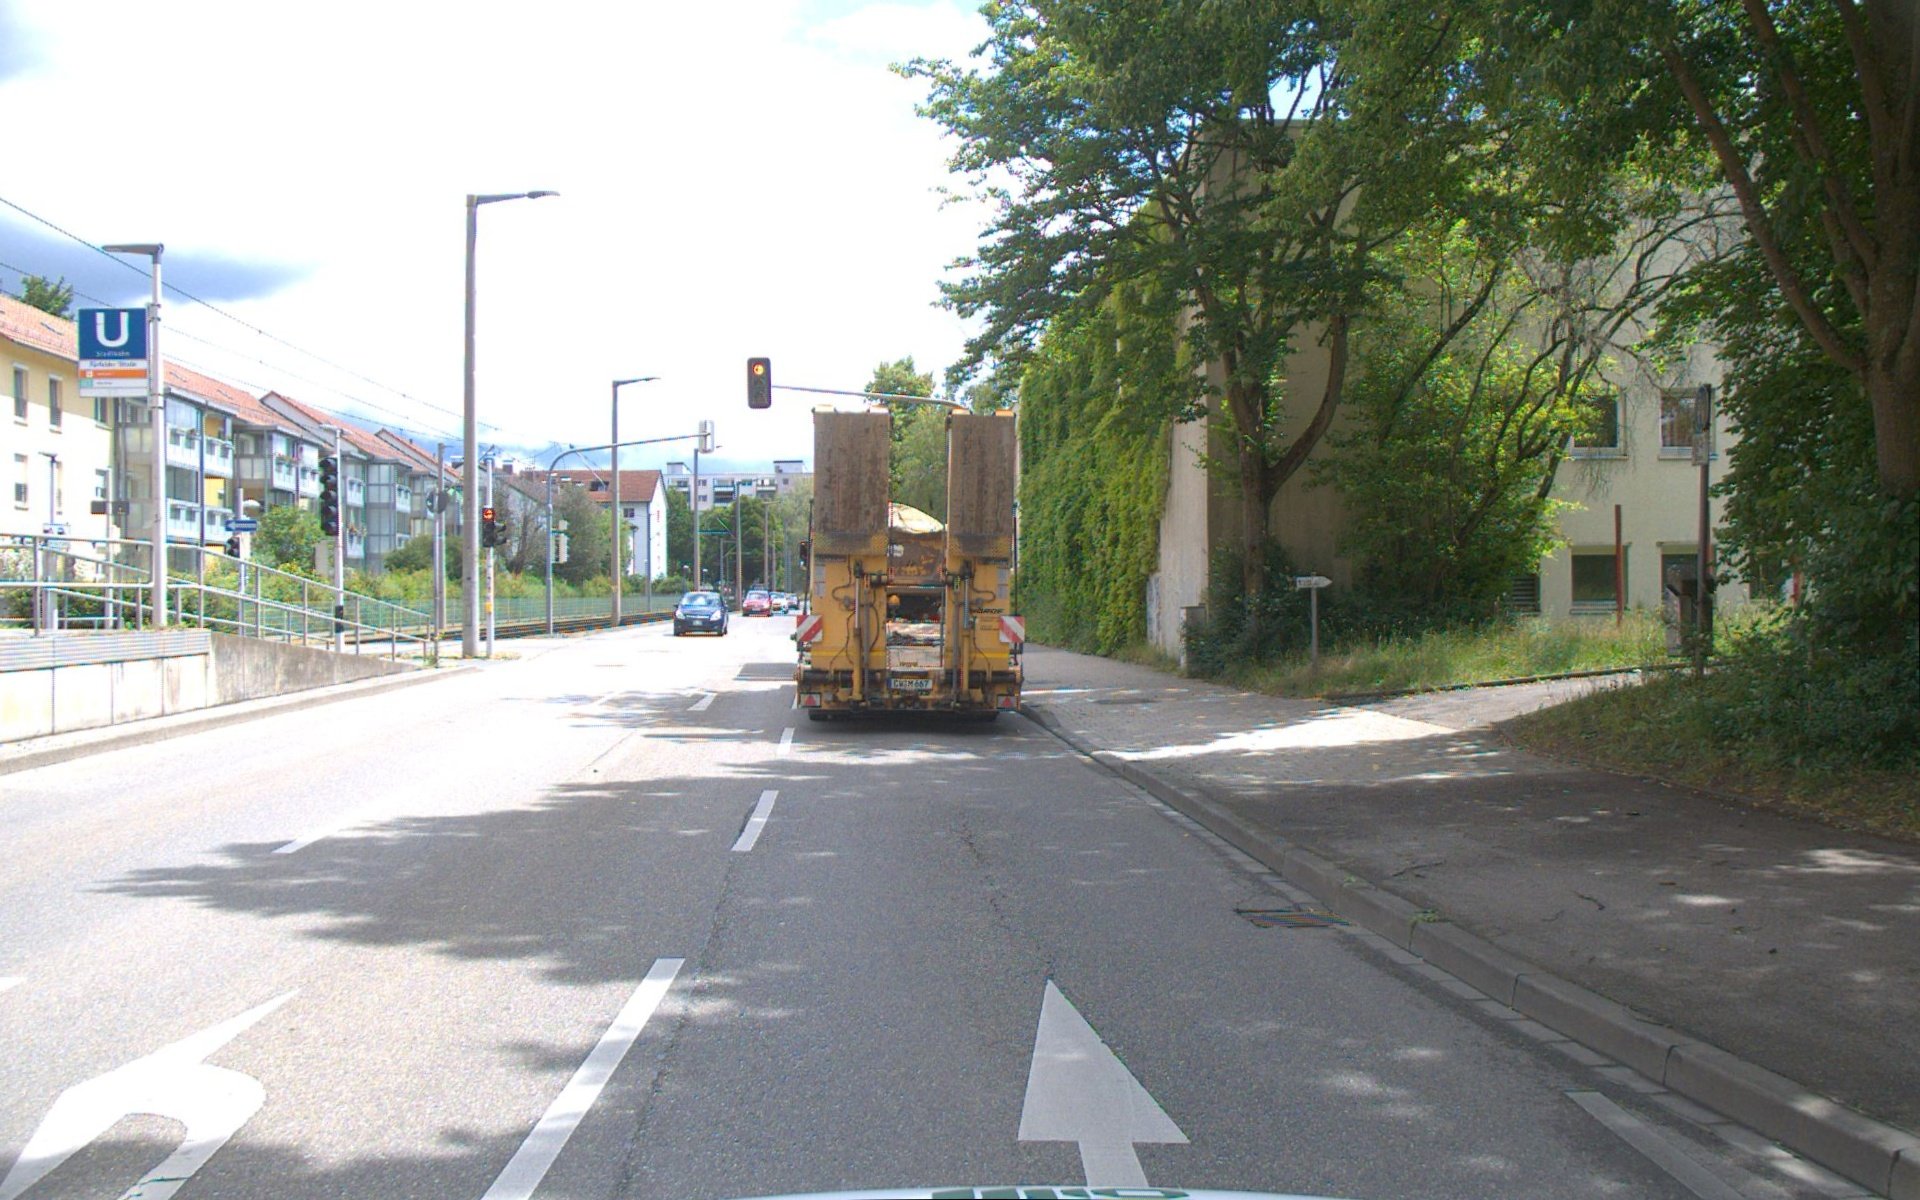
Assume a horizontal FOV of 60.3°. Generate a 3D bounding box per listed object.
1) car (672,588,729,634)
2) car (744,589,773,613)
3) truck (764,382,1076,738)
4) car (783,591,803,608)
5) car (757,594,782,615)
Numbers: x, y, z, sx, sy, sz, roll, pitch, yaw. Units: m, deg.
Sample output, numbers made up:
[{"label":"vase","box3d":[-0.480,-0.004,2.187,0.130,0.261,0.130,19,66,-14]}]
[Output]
[{"label":"car","box3d":[-8.824,0.375,56.496,1.634,1.478,3.675,1,-1,-5]},{"label":"car","box3d":[-12.543,0.081,103.101,1.634,1.478,3.675,1,-1,-5]},{"label":"truck","box3d":[-1.221,-0.481,24.664,3.337,3.797,13.717,0,0,-7]},{"label":"car","box3d":[-15.008,-0.032,148.782,1.634,1.478,3.675,1,-1,-5]},{"label":"car","box3d":[-13.659,0.326,118.441,1.634,1.478,3.675,1,-1,-5]}]
